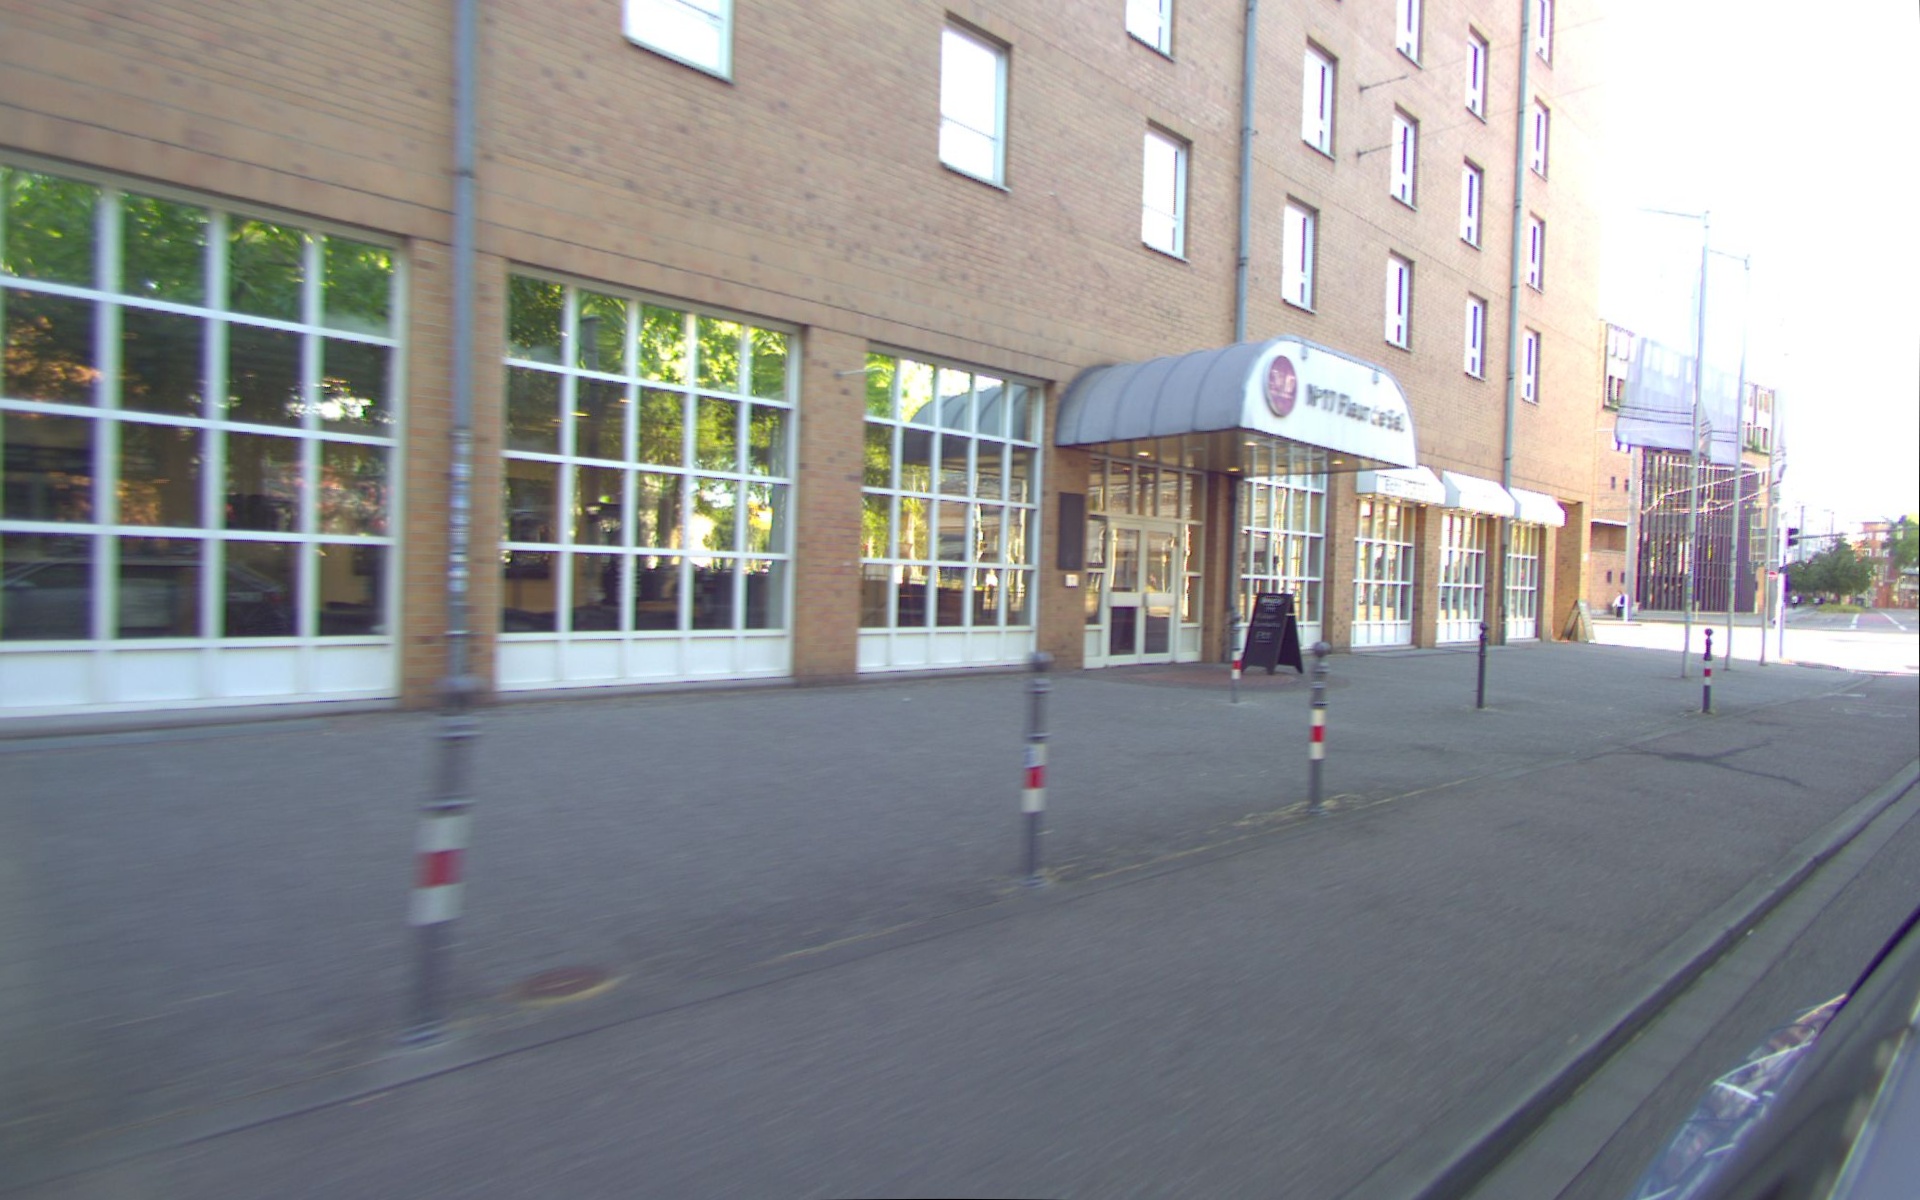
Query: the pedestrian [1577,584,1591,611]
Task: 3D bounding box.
[{"bbox_3d":[40.166,-0.157,65.134,0.623,1.704,0.522,2,1,40],"label":"pedestrian"}]
